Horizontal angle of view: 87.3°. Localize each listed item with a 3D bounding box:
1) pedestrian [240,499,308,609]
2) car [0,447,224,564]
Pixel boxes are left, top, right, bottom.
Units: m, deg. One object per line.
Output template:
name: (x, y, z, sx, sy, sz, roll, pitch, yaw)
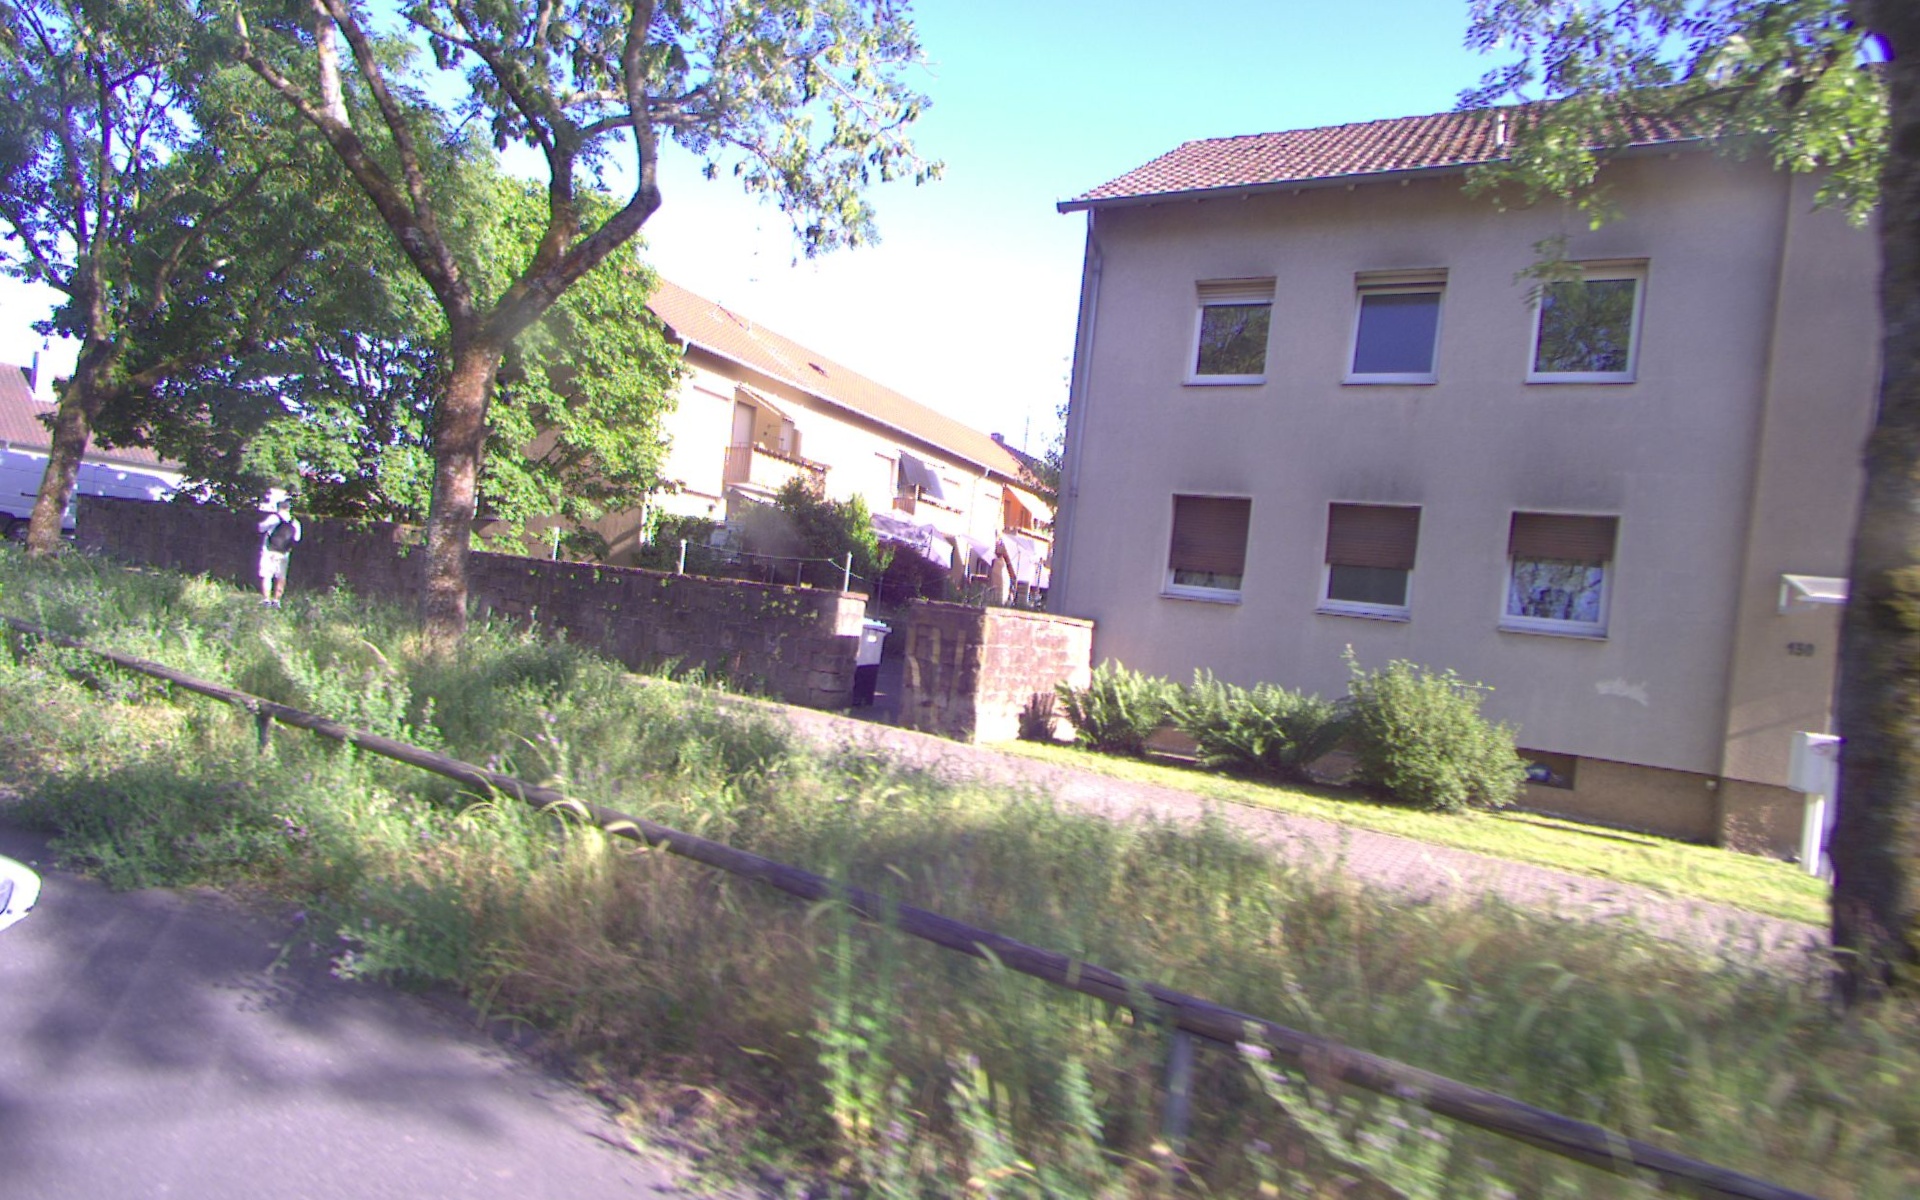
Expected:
pedestrian: (-11.281, -0.749, 16.549, 0.602, 1.729, 0.637, 8, 4, 30)
car: (-25.213, -2.696, 29.221, 2.227, 2.570, 5.604, 7, 0, 29)
